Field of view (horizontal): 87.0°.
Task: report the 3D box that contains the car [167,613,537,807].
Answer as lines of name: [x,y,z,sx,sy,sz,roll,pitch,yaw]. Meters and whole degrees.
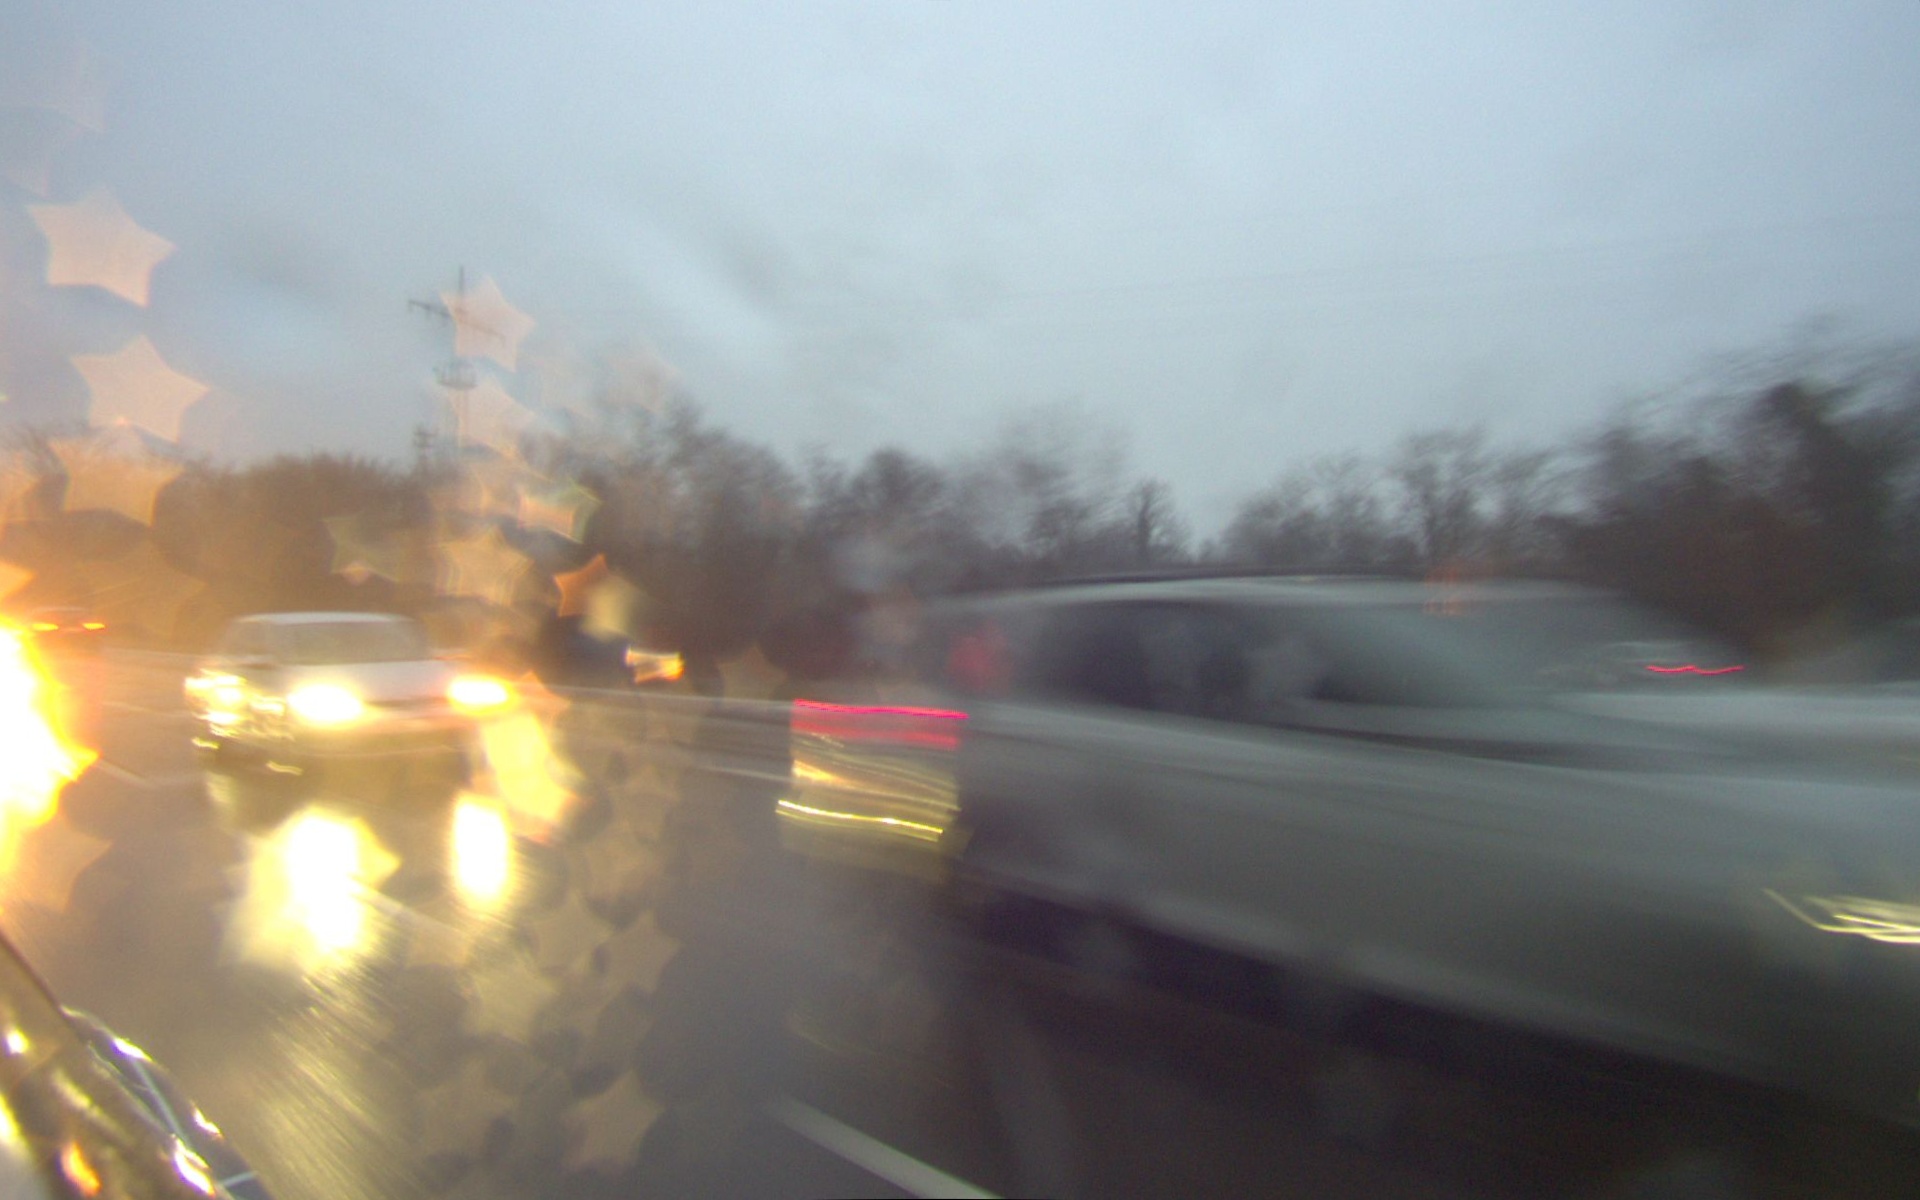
car: [-6.444,0.928,10.505,4.514,1.567,1.984,-1,-1,41]

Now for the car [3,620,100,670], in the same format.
car: [-30.837,1.469,34.310,4.374,1.568,1.630,-1,-1,37]

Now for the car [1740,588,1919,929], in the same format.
car: [6.384,0.735,4.448,4.571,1.629,1.804,-1,-1,41]

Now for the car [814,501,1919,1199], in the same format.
car: [1.553,0.653,3.286,4.216,1.639,1.695,-1,-1,41]
